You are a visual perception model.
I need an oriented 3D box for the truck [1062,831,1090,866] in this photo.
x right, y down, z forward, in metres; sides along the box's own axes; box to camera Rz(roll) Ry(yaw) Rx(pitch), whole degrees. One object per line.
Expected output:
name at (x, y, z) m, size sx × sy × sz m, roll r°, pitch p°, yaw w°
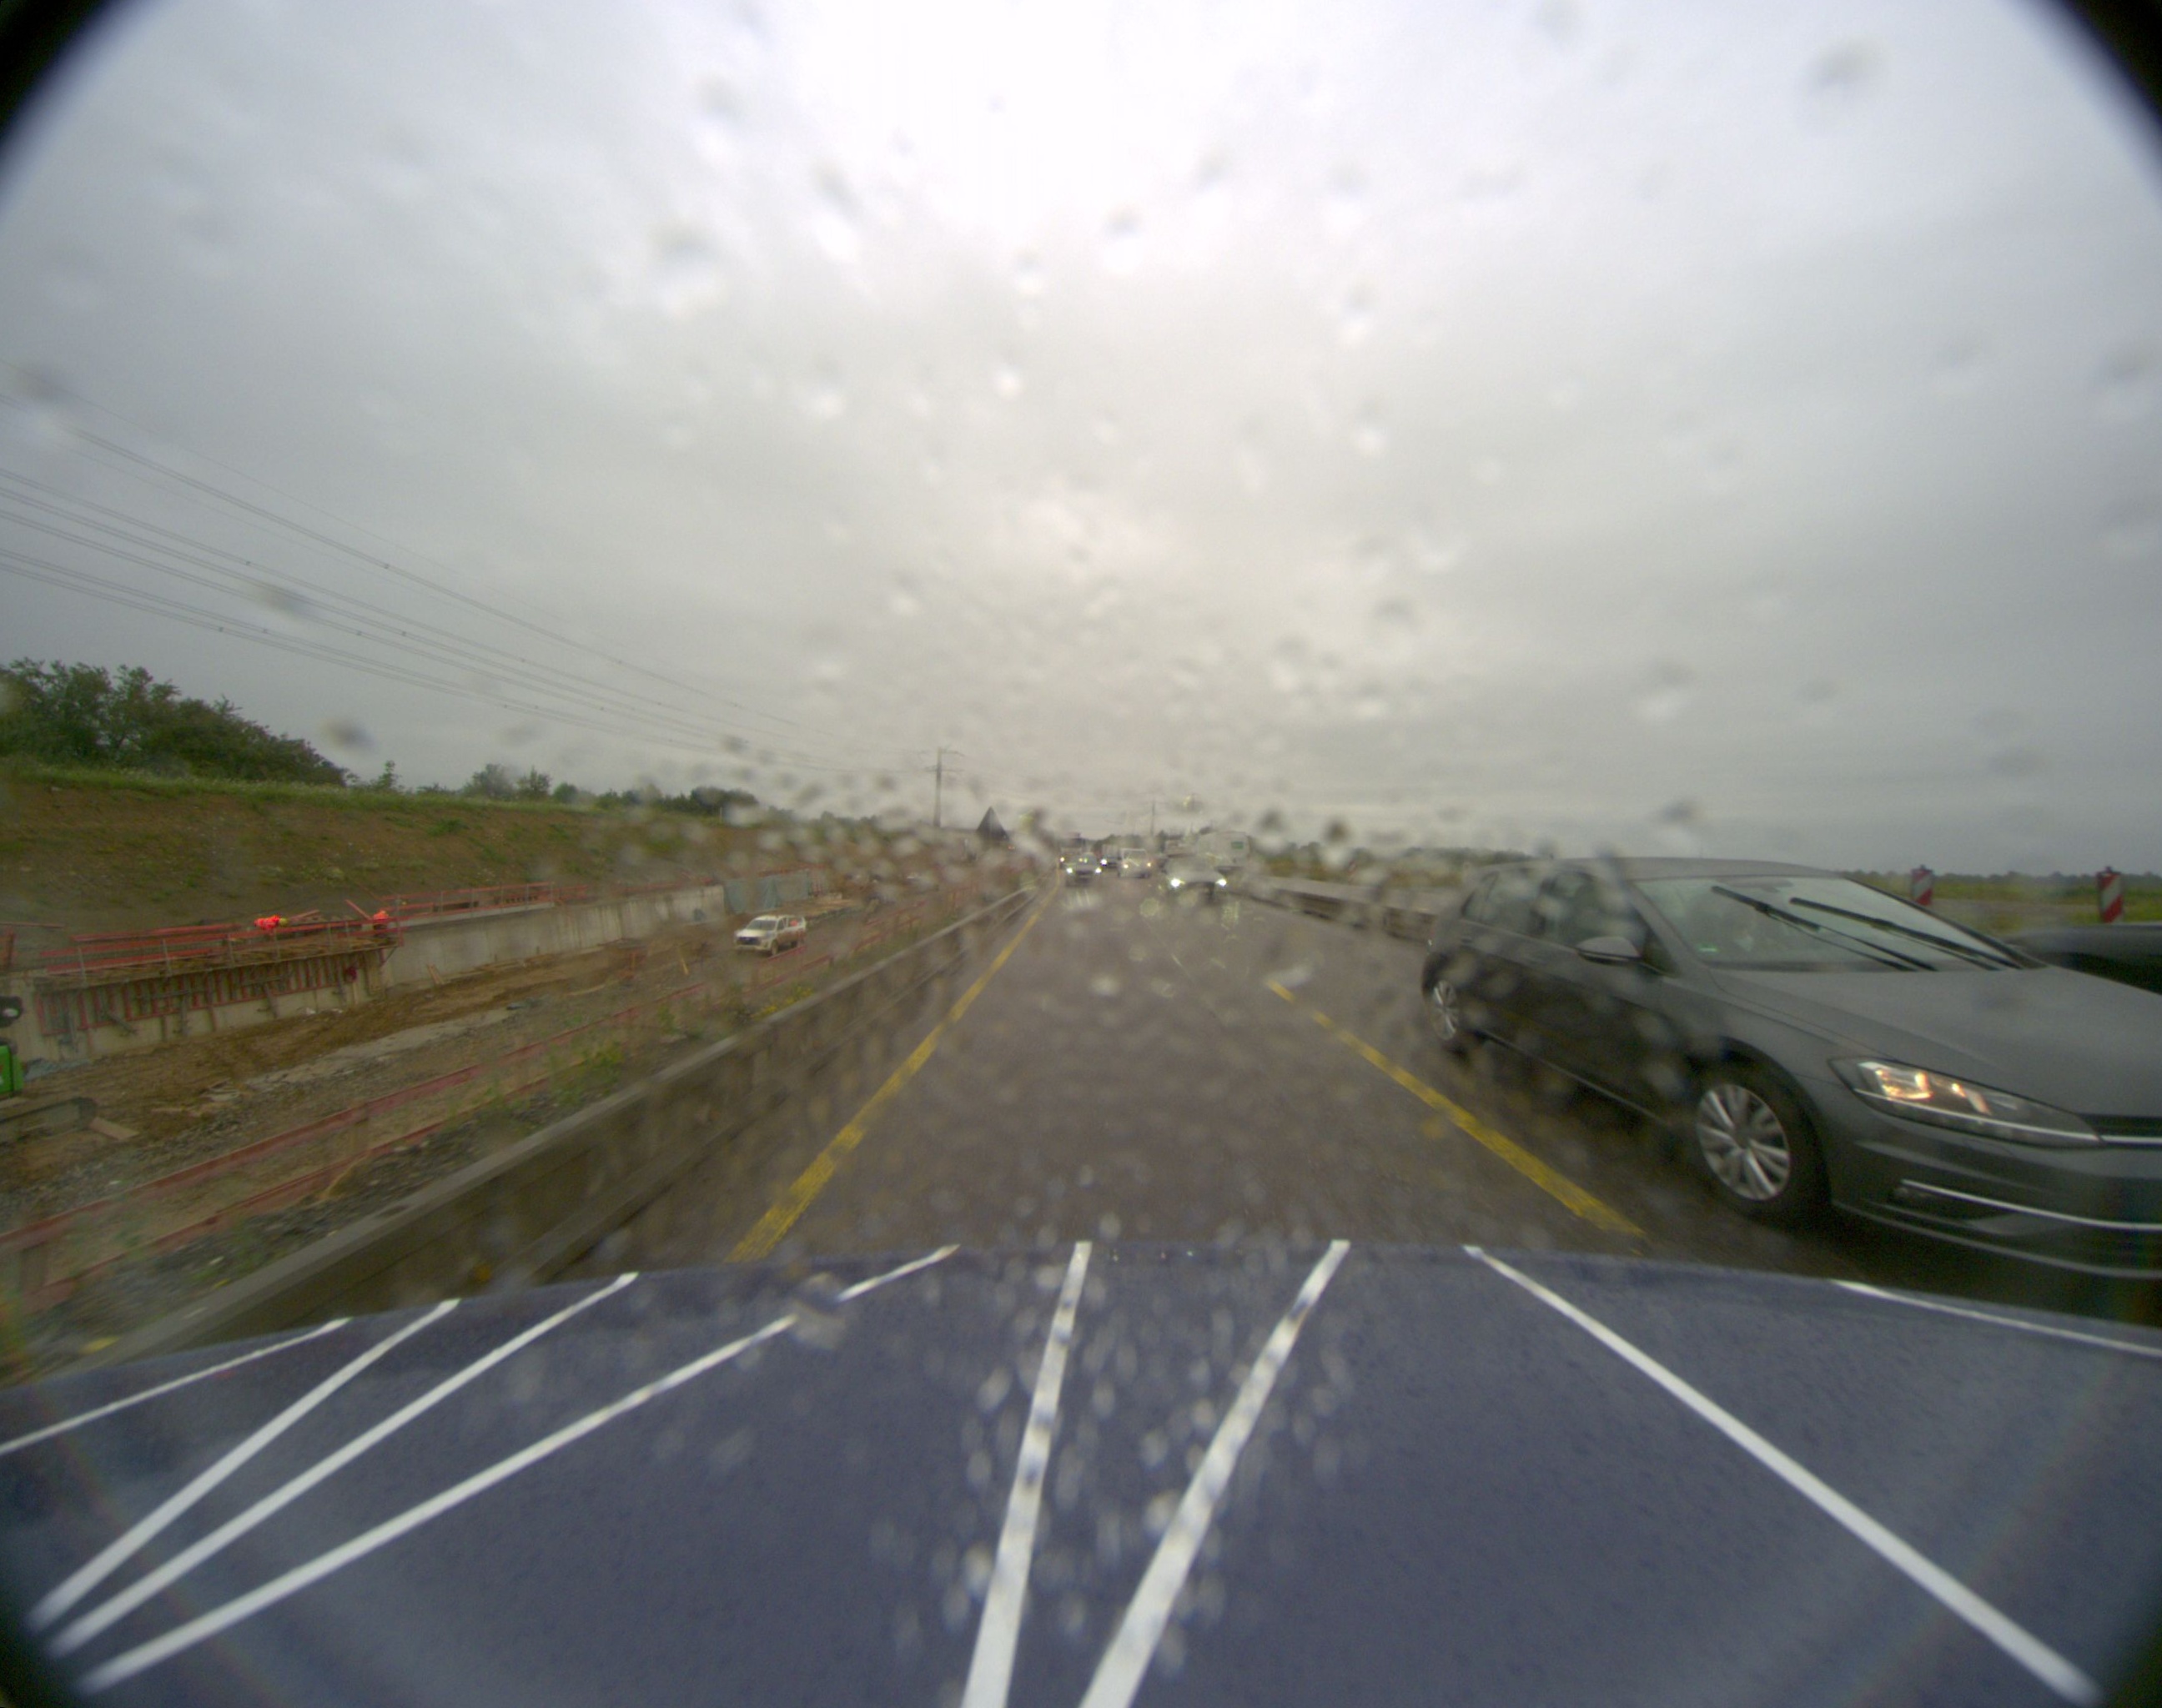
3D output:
truck at (-0.508, -0.690, 85.022) m, size 2.837 × 3.617 × 9.119 m, roll -2°, pitch 1°, yaw 1°

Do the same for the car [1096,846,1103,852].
car at (6.040, -1.582, 245.022) m, size 1.842 × 1.772 × 3.999 m, roll -8°, pitch 1°, yaw 0°

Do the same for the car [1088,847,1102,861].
car at (1.890, -0.005, 106.885) m, size 1.800 × 1.851 × 4.286 m, roll -2°, pitch 1°, yaw 0°

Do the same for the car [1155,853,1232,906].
car at (3.450, 0.743, 23.960) m, size 1.799 × 1.389 × 4.268 m, roll -2°, pitch 1°, yaw 1°

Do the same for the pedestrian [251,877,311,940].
pedestrian at (-30.545, 2.049, 29.035) m, size 0.917 × 2.233 × 1.005 m, roll -6°, pitch 2°, yaw -2°

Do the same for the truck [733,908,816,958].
truck at (-15.646, 3.978, 39.136) m, size 1.766 × 1.860 × 5.786 m, roll 0°, pitch 1°, yaw 2°

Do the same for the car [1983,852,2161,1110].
car at (7.369, 0.780, 3.134) m, size 1.899 × 1.488 × 4.580 m, roll -2°, pitch 1°, yaw 1°

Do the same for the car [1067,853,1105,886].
car at (0.284, 0.727, 38.561) m, size 1.799 × 1.524 × 4.307 m, roll -2°, pitch 0°, yaw 1°

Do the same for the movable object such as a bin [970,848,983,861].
movable object such as a bin at (-22.665, 0.063, 164.502) m, size 2.252 × 2.704 × 3.998 m, roll -2°, pitch 1°, yaw -2°

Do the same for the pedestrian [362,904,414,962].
pedestrian at (-29.020, 3.291, 31.832) m, size 0.917 × 2.219 × 1.006 m, roll -6°, pitch 2°, yaw 5°

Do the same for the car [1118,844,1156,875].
car at (3.593, 0.320, 49.556) m, size 2.160 × 1.848 × 5.179 m, roll -2°, pitch 1°, yaw 2°

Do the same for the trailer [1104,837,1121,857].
trailer at (6.908, -1.532, 168.792) m, size 2.794 × 4.176 × 13.670 m, roll -1°, pitch 0°, yaw -2°

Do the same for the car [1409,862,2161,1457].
car at (3.393, 0.823, 4.002) m, size 1.653 × 1.414 × 4.080 m, roll -1°, pitch 1°, yaw 1°

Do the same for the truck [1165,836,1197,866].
truck at (10.070, -0.294, 77.052) m, size 2.364 × 2.877 × 6.548 m, roll 1°, pitch 0°, yaw 0°

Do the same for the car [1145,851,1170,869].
car at (6.673, 0.531, 66.594) m, size 1.751 × 1.486 × 4.749 m, roll -1°, pitch 0°, yaw 0°

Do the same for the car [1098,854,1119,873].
car at (2.450, 0.822, 68.723) m, size 1.799 × 1.521 × 4.067 m, roll -2°, pitch 1°, yaw 2°

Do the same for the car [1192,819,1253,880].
car at (7.733, -0.259, 42.192) m, size 1.998 × 3.028 × 7.170 m, roll -2°, pitch 0°, yaw 0°

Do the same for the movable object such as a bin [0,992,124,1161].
movable object such as a bin at (-22.678, 4.581, 13.903) m, size 3.802 × 2.791 × 4.850 m, roll -1°, pitch 6°, yaw 1°
